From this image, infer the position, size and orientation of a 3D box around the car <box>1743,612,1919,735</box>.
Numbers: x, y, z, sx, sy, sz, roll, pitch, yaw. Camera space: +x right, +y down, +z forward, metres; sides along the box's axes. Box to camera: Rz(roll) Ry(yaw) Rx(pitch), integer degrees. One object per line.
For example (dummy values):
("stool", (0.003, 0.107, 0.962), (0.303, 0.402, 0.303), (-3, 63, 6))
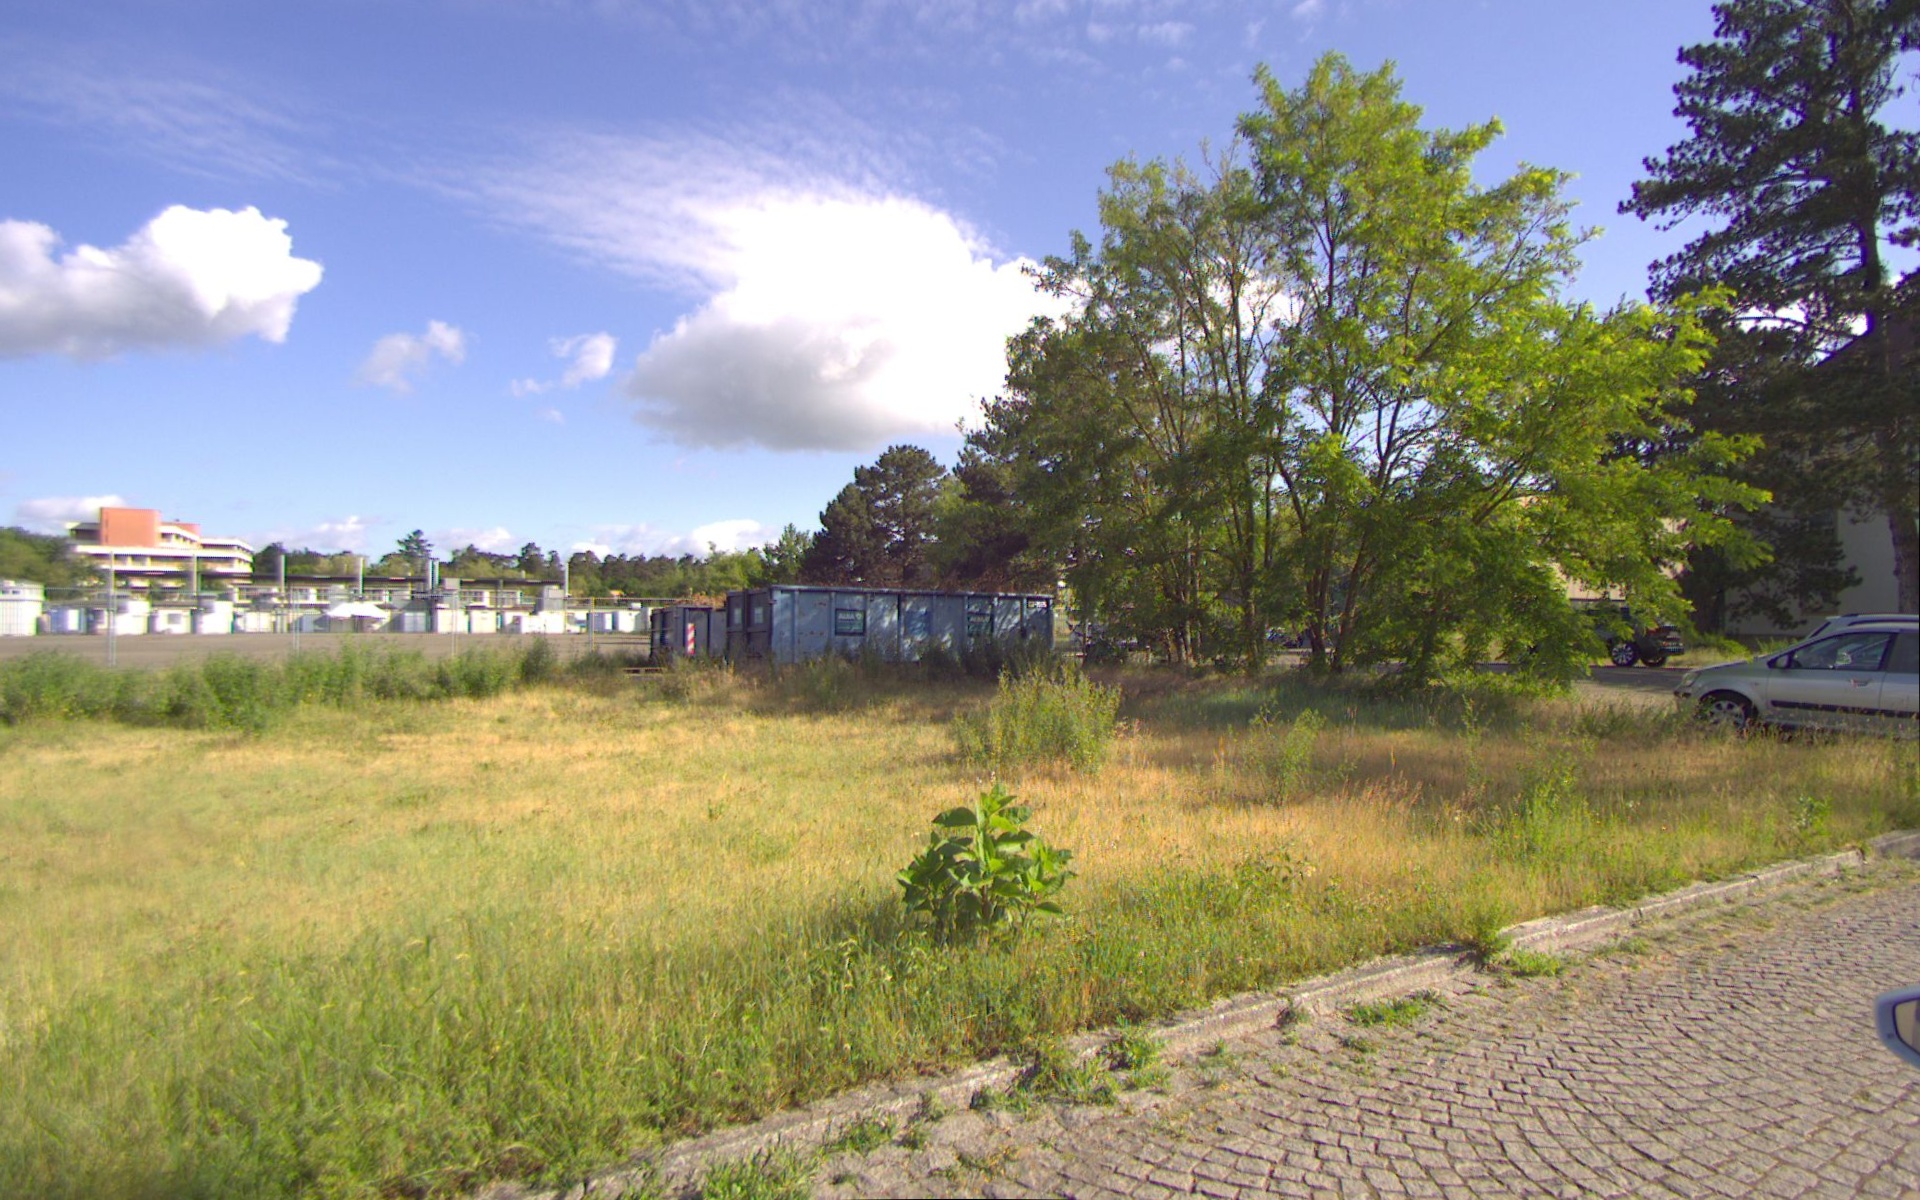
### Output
("car", (12.936, 0.992, 13.109), (1.671, 1.464, 3.918), (1, 2, -30))

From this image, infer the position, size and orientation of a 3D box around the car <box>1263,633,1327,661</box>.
("car", (22.521, 3.140, 67.540), (3.951, 1.802, 1.858), (1, -1, -27))

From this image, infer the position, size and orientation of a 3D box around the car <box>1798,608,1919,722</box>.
("car", (15.111, 1.011, 14.833), (1.641, 1.637, 3.860), (1, 1, -30))

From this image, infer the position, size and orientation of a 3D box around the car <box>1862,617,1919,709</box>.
("car", (17.354, 1.105, 16.064), (1.748, 1.516, 3.975), (1, 1, -24))

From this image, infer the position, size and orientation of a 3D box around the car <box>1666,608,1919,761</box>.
("car", (10.703, 0.942, 11.715), (1.680, 1.548, 3.665), (1, 1, -31))

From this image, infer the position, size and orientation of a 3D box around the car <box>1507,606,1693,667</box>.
("car", (18.413, 1.024, 29.094), (1.985, 1.630, 4.127), (1, -1, -28))
